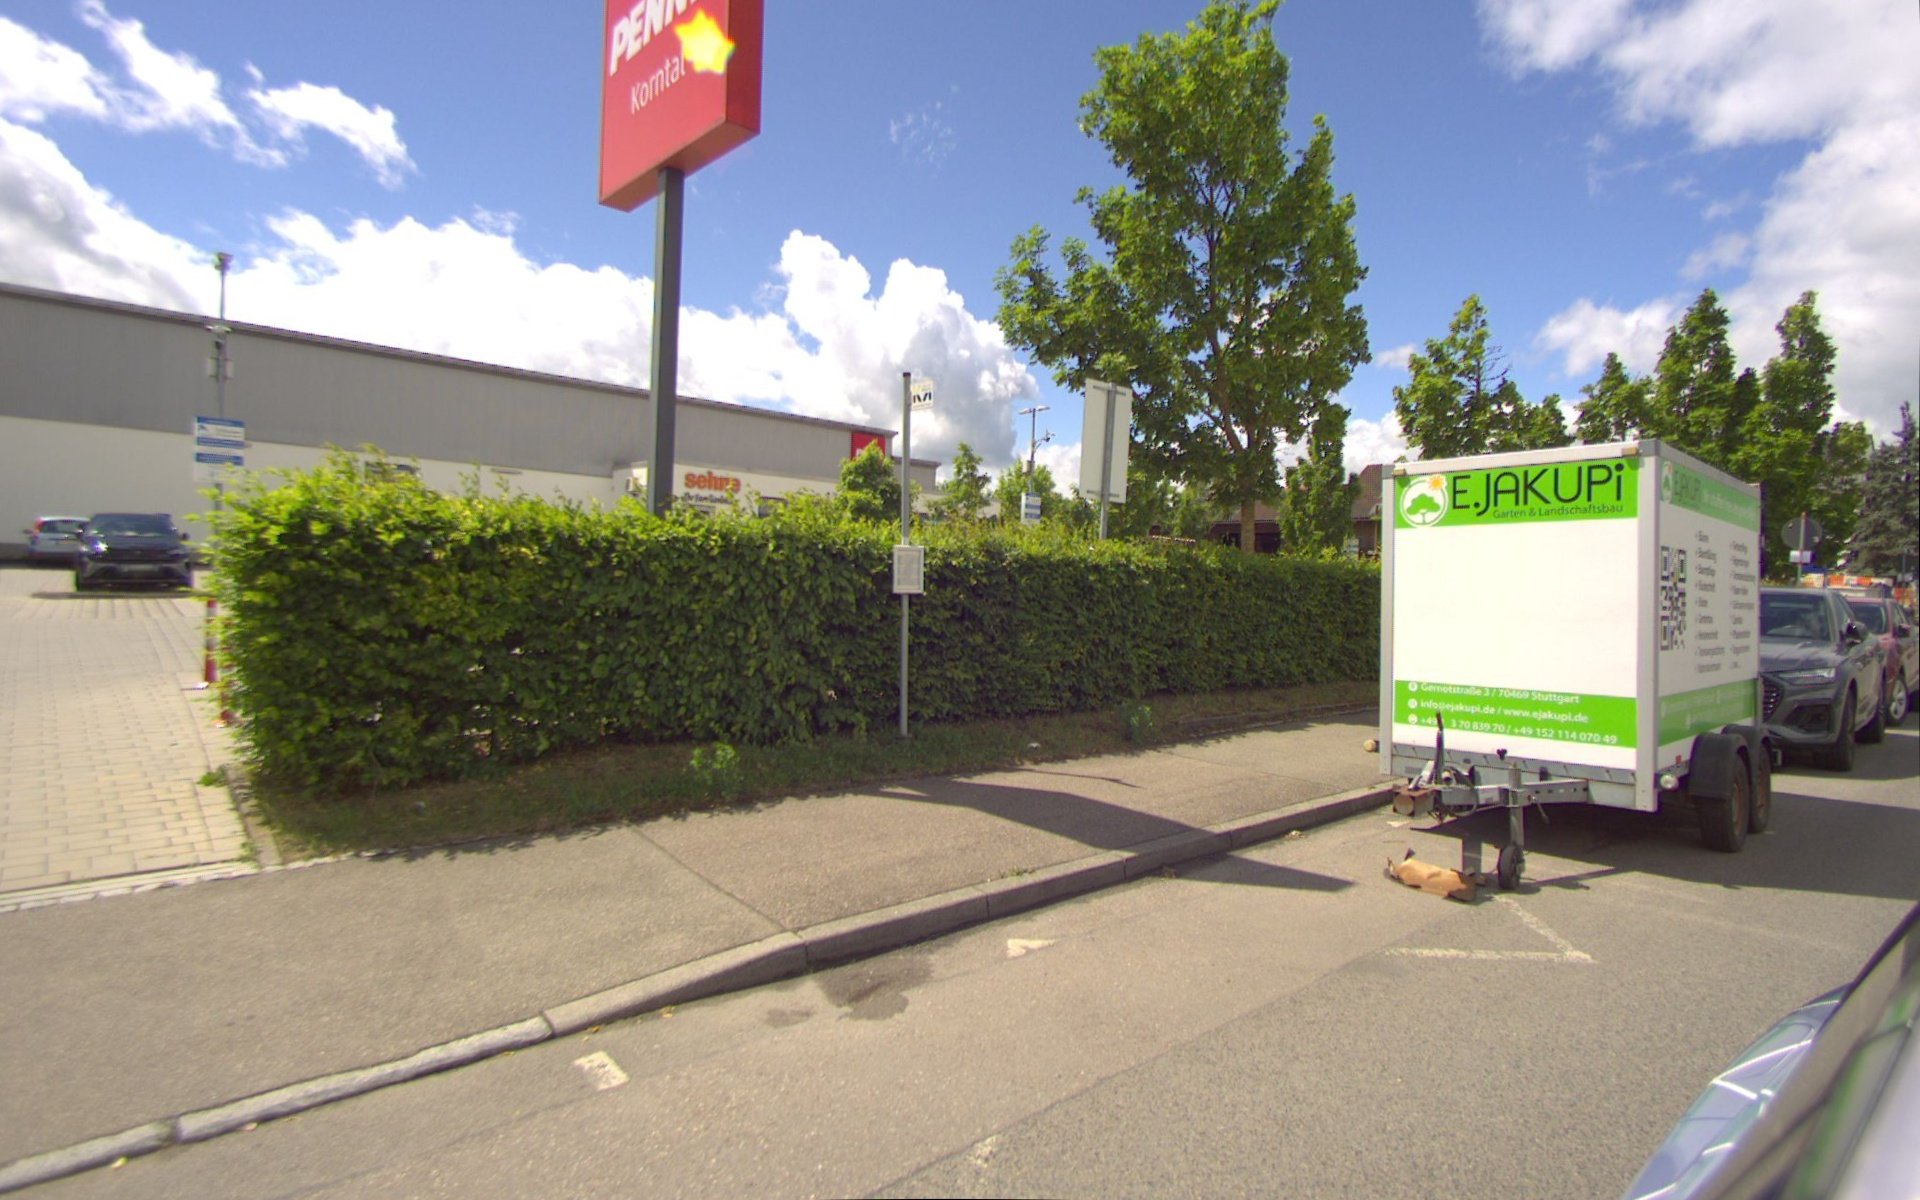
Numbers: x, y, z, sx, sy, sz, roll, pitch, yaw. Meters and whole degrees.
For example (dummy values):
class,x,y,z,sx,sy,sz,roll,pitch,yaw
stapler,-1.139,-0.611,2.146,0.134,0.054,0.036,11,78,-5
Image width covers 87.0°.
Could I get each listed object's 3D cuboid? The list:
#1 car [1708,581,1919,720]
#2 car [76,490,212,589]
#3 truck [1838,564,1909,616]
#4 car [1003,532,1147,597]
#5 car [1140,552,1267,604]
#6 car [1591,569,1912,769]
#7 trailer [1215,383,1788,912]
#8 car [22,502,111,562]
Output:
class,x,y,z,sx,sy,sz,roll,pitch,yaw
car,12.245,0.603,14.055,4.365,1.591,1.946,1,2,-39
car,-16.537,-1.126,20.611,1.963,1.705,3.996,1,-1,-38
truck,42.841,-0.427,47.437,5.292,2.107,1.833,2,3,-42
car,3.389,-1.001,30.250,1.966,1.728,3.991,1,-1,-42
car,8.639,-0.737,36.137,1.966,1.728,3.991,1,-1,-42
car,8.288,0.549,10.437,4.371,1.591,1.944,1,2,-43
trailer,3.767,0.175,6.646,4.370,2.323,1.944,0,2,-43
car,-25.445,-1.886,28.903,1.787,1.527,3.995,1,1,-41
